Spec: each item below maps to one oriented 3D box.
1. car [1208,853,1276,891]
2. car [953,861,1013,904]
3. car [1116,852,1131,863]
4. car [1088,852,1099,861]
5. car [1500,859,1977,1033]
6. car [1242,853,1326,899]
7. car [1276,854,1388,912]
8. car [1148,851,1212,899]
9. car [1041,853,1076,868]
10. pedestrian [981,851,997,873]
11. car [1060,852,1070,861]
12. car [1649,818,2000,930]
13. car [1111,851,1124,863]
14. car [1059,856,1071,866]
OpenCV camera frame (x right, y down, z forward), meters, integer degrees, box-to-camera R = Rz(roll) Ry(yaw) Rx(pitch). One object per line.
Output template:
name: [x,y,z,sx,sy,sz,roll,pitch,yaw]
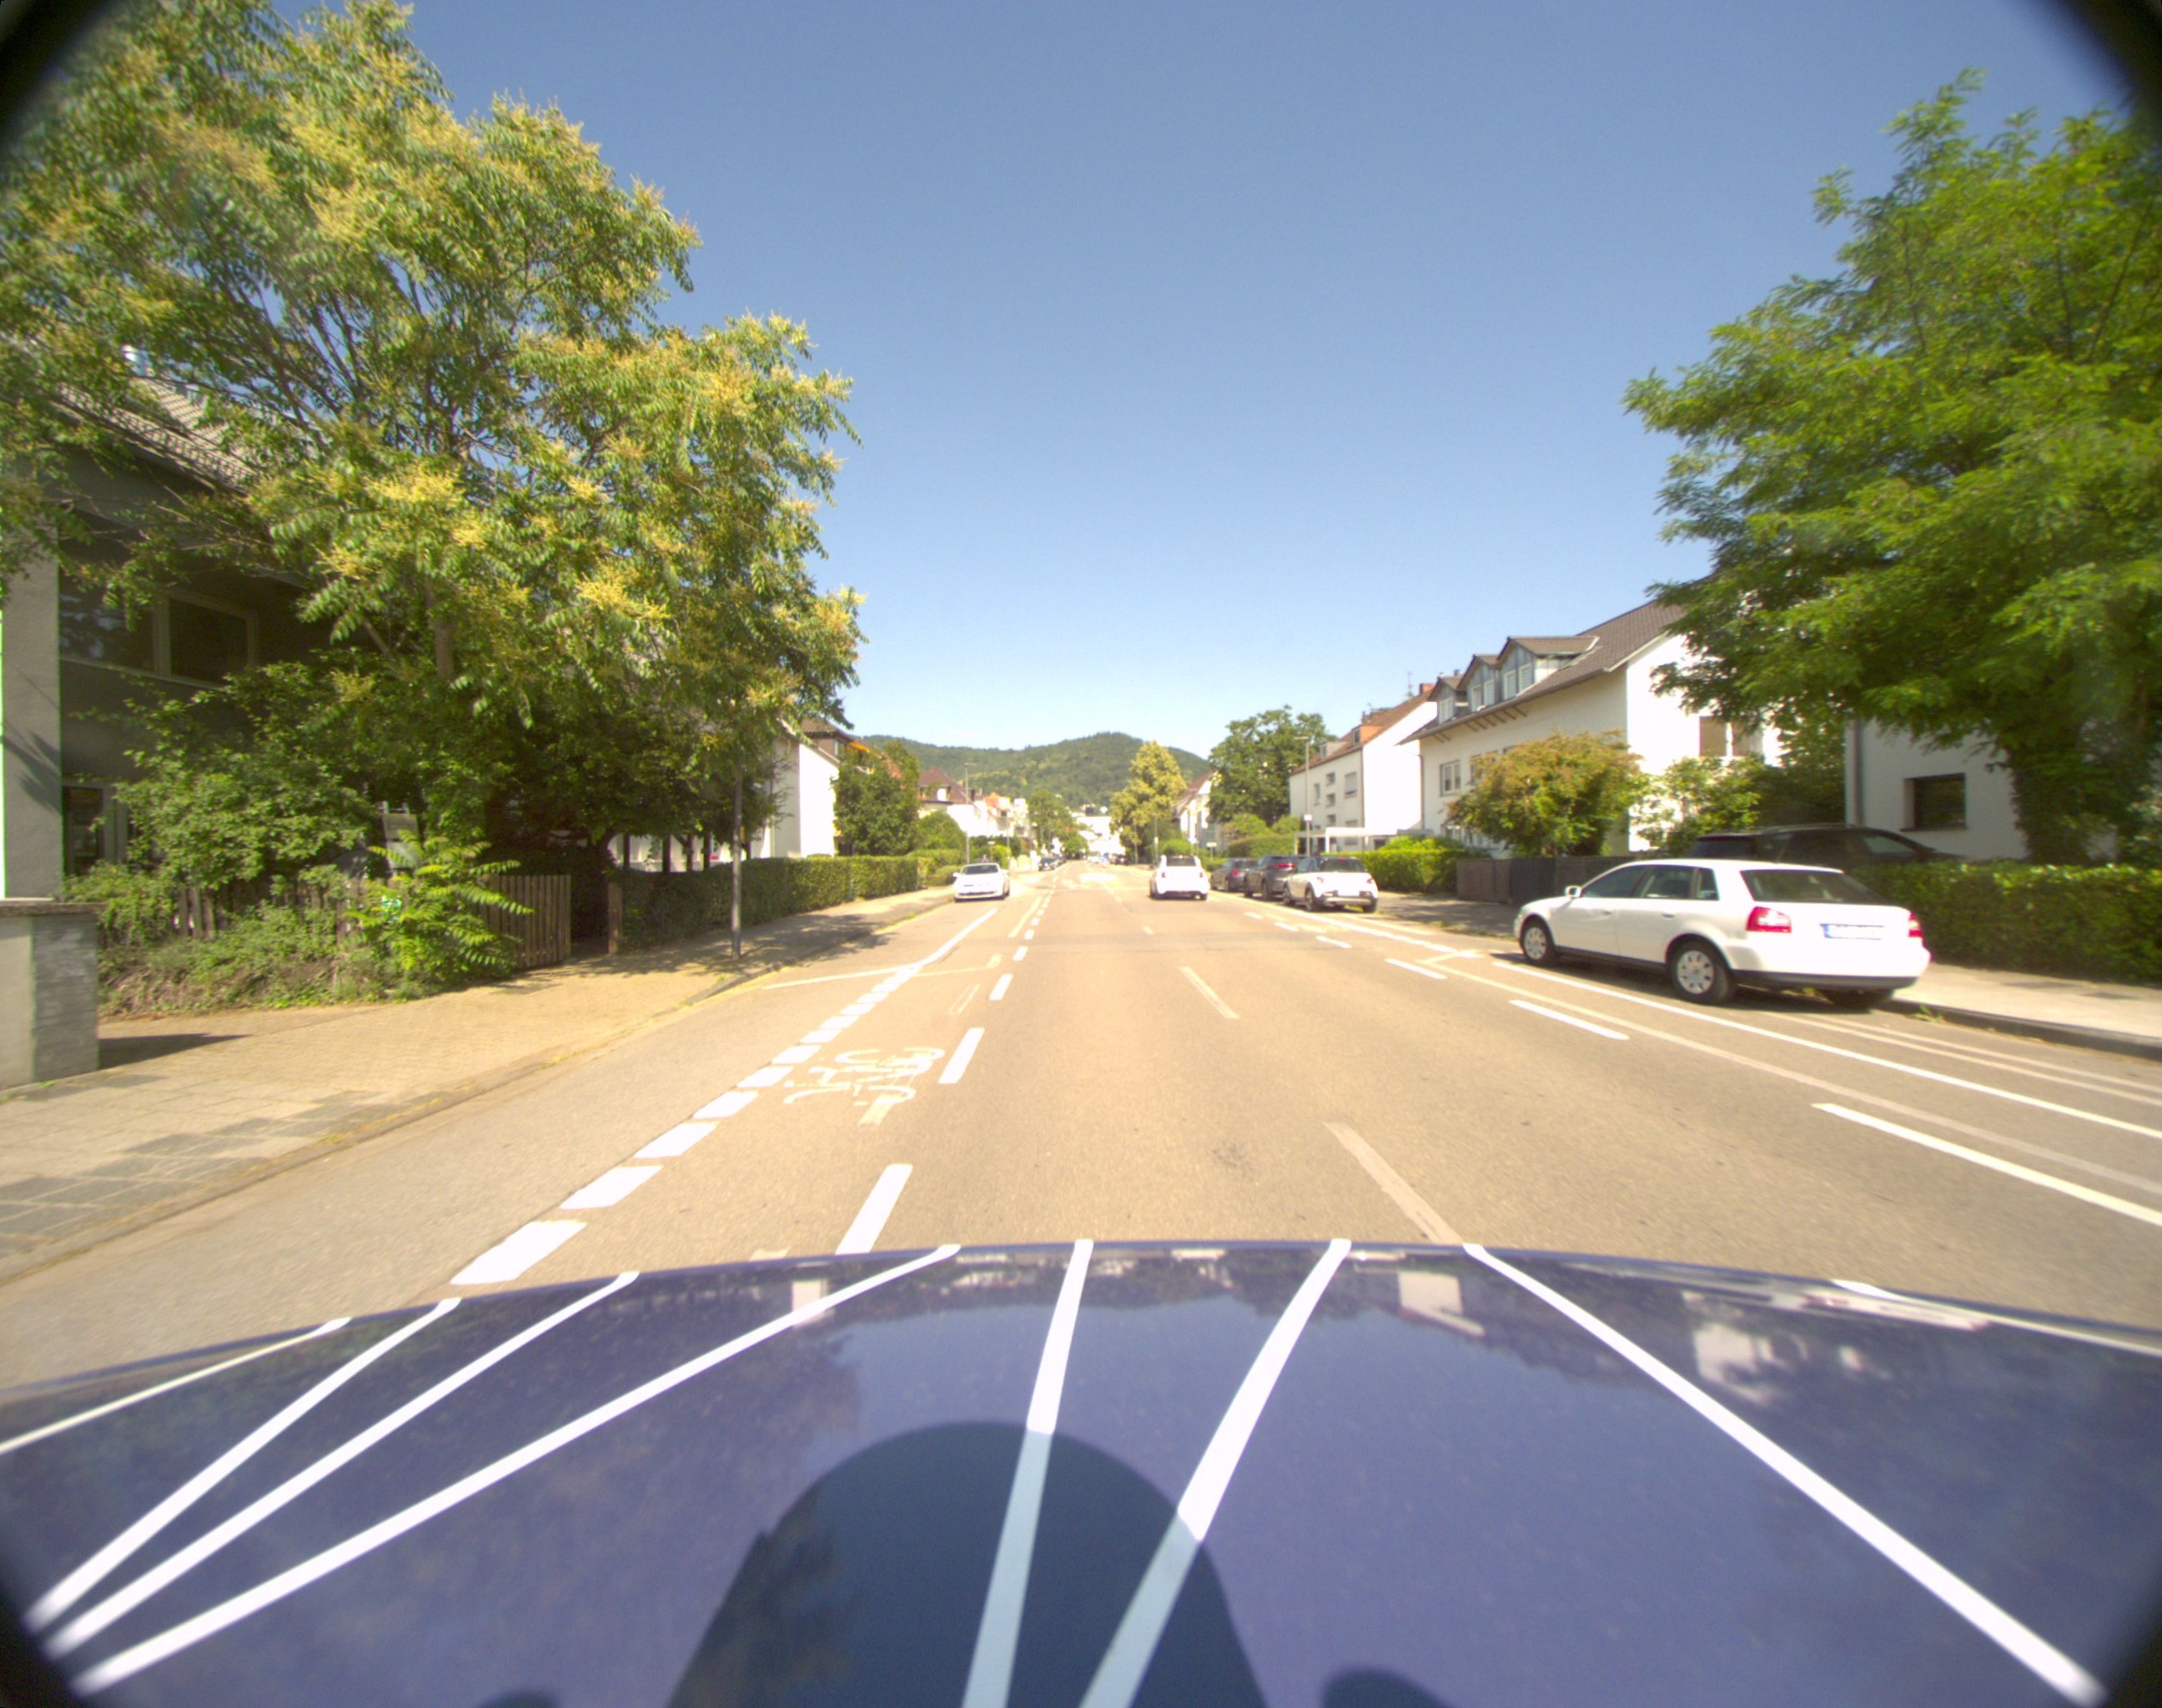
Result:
car: [6.630,0.708,31.789,1.790,1.431,4.154,1,0,-2]
car: [-3.583,1.006,28.429,1.745,1.394,4.073,-3,0,-1]
car: [6.287,0.564,112.896,1.856,1.601,4.447,-2,0,-2]
car: [2.158,0.415,133.337,1.920,1.657,4.505,1,0,-1]
car: [6.770,0.809,8.539,1.790,1.431,3.999,1,0,-2]
car: [6.695,0.673,25.512,1.789,1.431,4.111,0,0,1]
car: [6.805,0.722,21.040,1.790,1.431,4.000,1,0,0]
car: [3.378,0.655,26.523,1.736,1.532,4.000,0,0,0]
car: [-2.427,0.712,83.011,1.737,1.460,4.353,-1,1,32]
pedestrian: [-7.917,0.679,65.614,0.903,1.862,1.186,-1,1,-33]
car: [-3.023,0.443,145.143,1.701,1.573,4.899,-3,0,-3]
car: [12.720,0.338,13.283,3.995,1.749,2.001,-1,0,6]
car: [6.125,0.560,126.298,1.889,1.908,4.869,-3,-1,1]
car: [-2.383,1.025,114.065,1.726,1.441,4.167,-4,1,-1]
